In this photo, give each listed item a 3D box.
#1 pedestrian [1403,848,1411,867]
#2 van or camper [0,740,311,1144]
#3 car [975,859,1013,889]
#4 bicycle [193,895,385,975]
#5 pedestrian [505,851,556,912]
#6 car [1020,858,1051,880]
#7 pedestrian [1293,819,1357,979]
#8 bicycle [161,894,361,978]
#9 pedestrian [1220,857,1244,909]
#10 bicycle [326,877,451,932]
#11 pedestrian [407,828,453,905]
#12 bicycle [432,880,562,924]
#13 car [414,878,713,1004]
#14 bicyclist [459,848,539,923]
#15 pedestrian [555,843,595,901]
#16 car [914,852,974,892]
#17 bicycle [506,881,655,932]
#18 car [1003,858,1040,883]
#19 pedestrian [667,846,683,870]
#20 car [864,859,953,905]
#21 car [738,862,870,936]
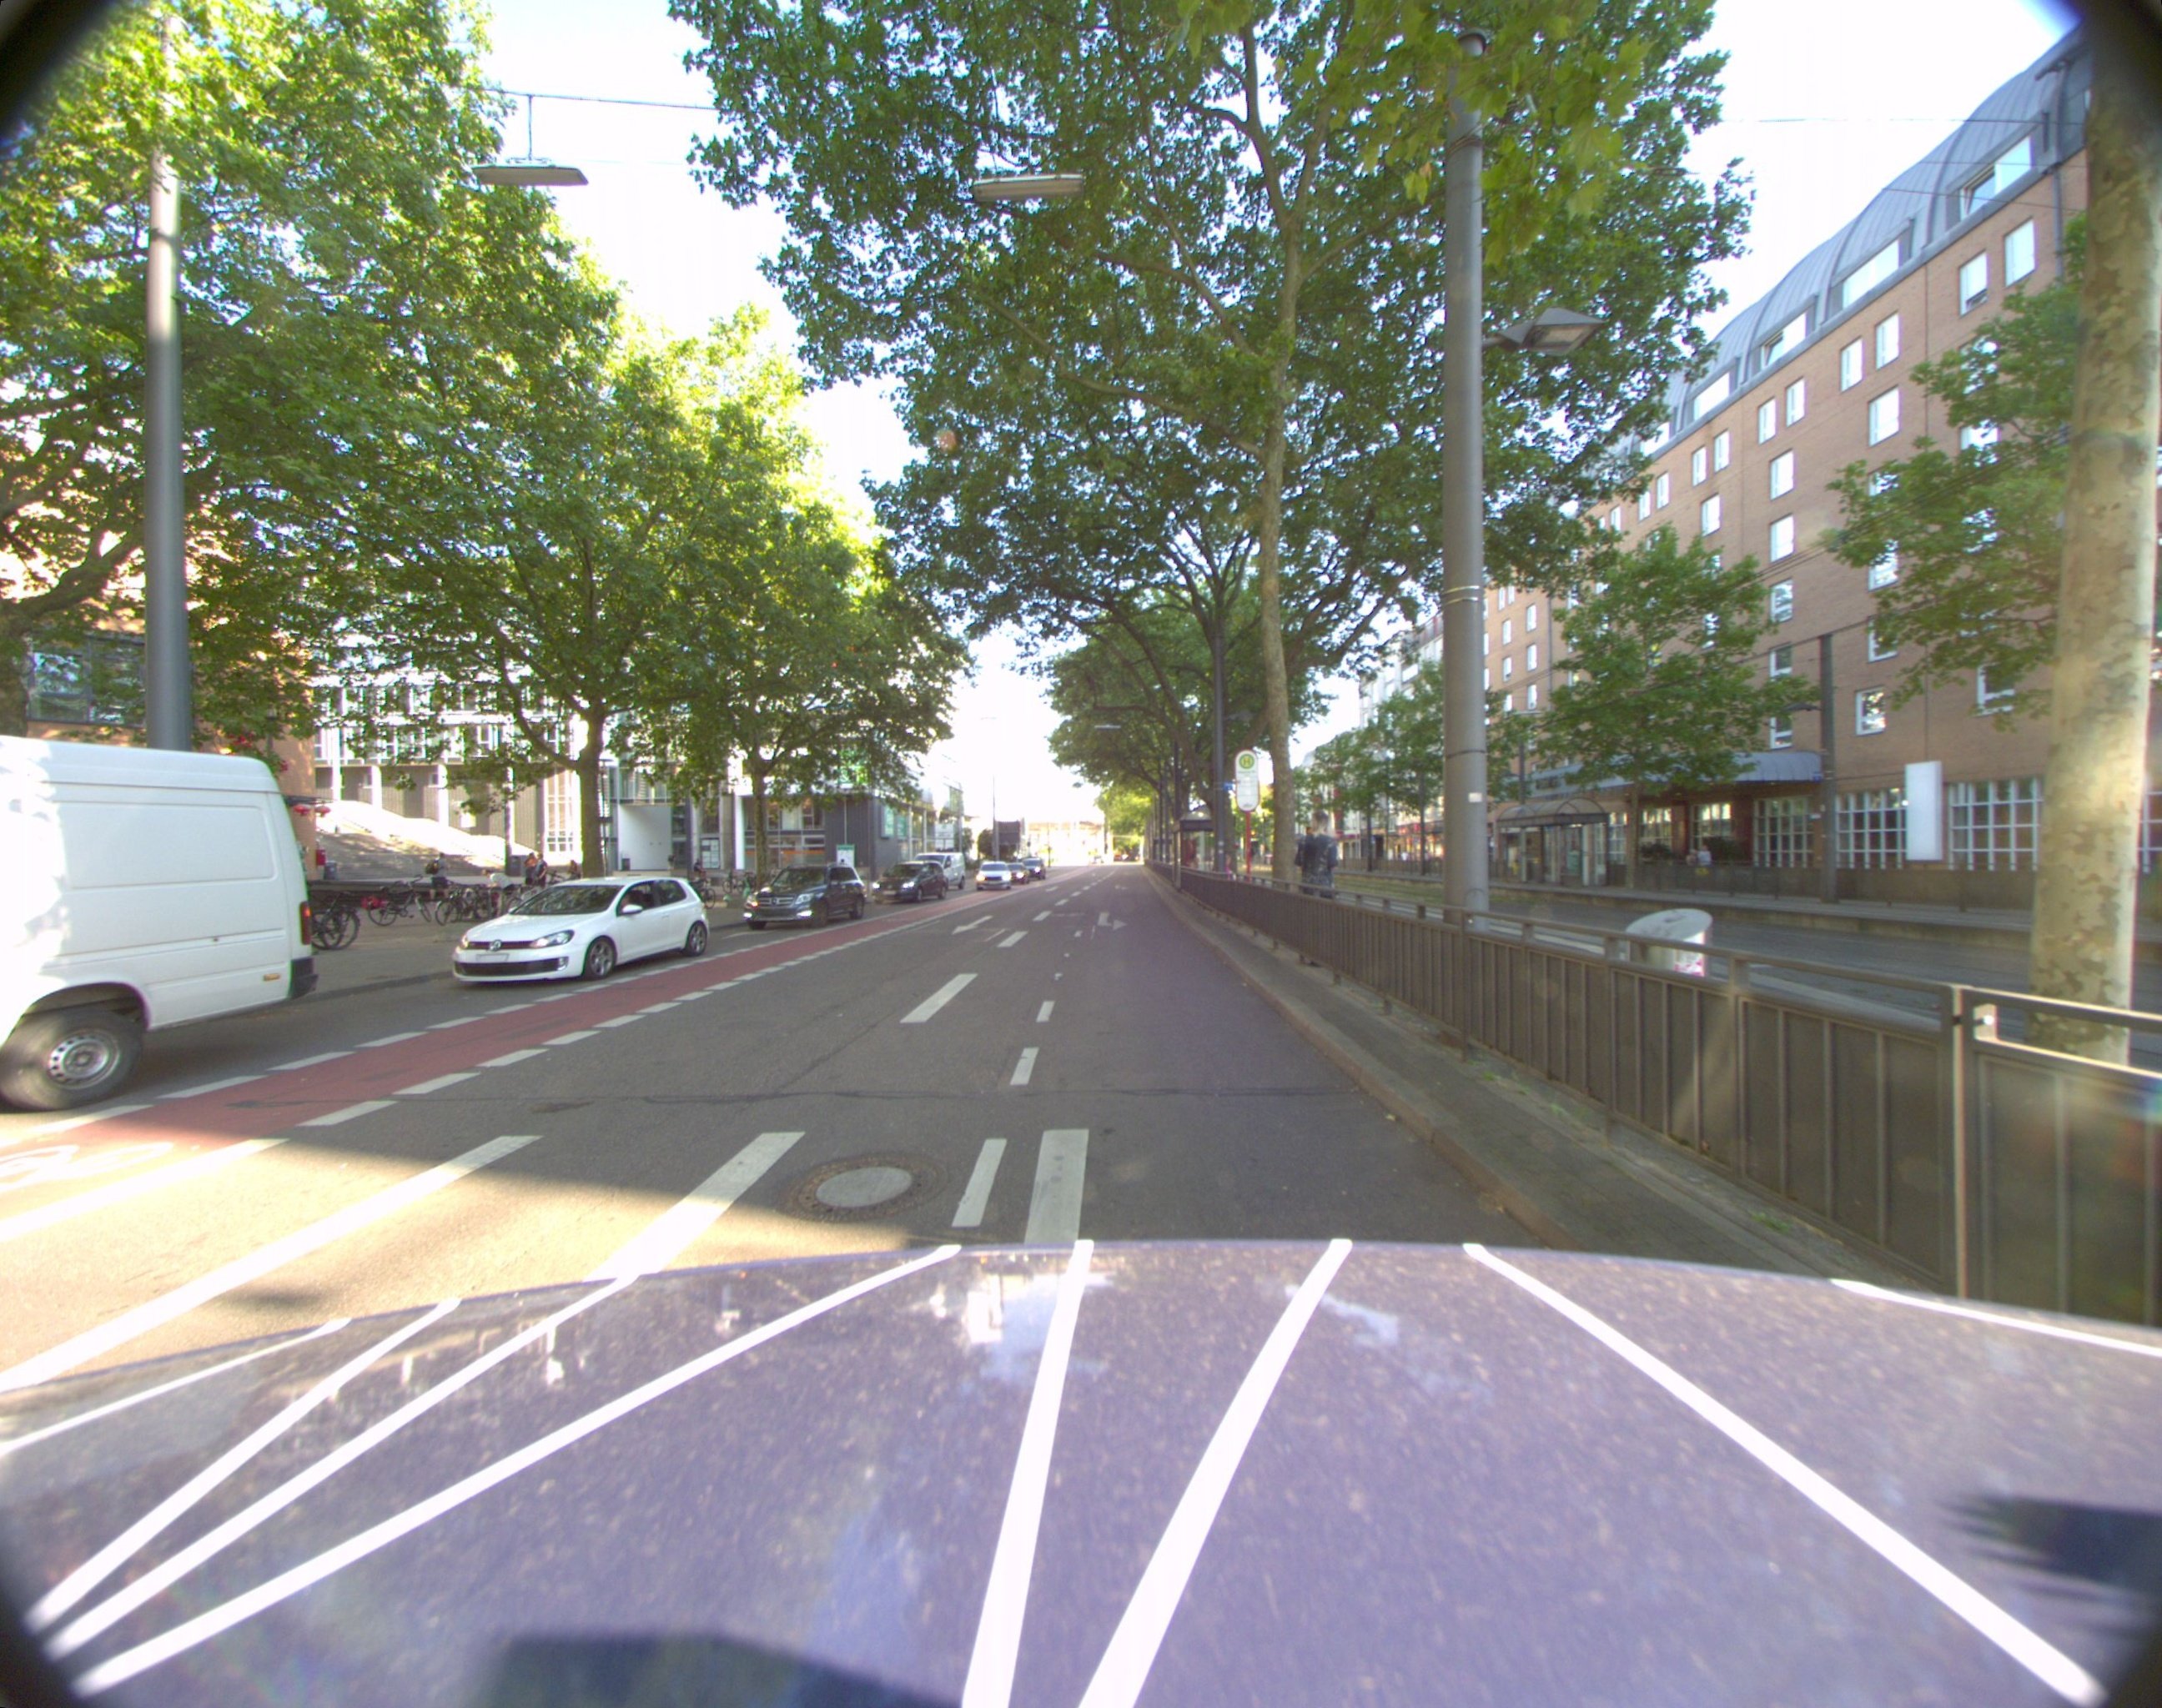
[{"bbox_3d":[30.581,0.313,71.268,0.504,1.725,0.574,-1,1,3],"label":"pedestrian"},{"bbox_3d":[-7.976,0.581,3.561,2.005,2.599,6.498,-1,0,1],"label":"van or camper"},{"bbox_3d":[-4.573,1.020,40.411,1.836,1.481,4.193,-2,0,-5],"label":"car"},{"bbox_3d":[-13.147,1.306,12.749,0.682,1.054,2.337,-1,1,2],"label":"bicycle"},{"bbox_3d":[-21.004,1.038,28.999,1.048,2.235,1.221,-1,1,38],"label":"pedestrian"},{"bbox_3d":[-3.504,1.118,58.699,1.784,1.481,4.196,-3,0,4],"label":"car"},{"bbox_3d":[2.887,0.523,9.016,0.543,1.823,0.524,-2,1,2],"label":"pedestrian"},{"bbox_3d":[-14.040,1.353,13.161,0.751,1.155,2.398,-2,1,2],"label":"bicycle"},{"bbox_3d":[3.904,0.749,19.652,0.542,1.310,0.524,-2,1,12],"label":"pedestrian"},{"bbox_3d":[-17.847,1.255,19.710,0.699,1.193,2.700,-2,1,1],"label":"bicycle"},{"bbox_3d":[-22.926,0.413,26.796,0.981,2.633,0.900,-3,1,-31],"label":"pedestrian"},{"bbox_3d":[-16.212,1.296,21.090,3.328,1.077,1.150,0,1,18],"label":"bicycle"},{"bbox_3d":[-7.515,1.172,11.598,1.639,1.420,3.987,-2,0,3],"label":"car"},{"bbox_3d":[-16.080,0.843,21.031,1.296,2.002,1.158,-1,1,17],"label":"bicyclist"},{"bbox_3d":[-20.057,0.708,30.147,0.842,2.220,0.905,-2,1,22],"label":"pedestrian"},{"bbox_3d":[-7.301,0.885,41.197,1.933,1.953,5.919,-2,0,2],"label":"car"},{"bbox_3d":[-12.939,1.320,19.824,0.975,1.020,3.208,-2,1,23],"label":"bicycle"},{"bbox_3d":[-3.834,1.054,49.690,1.835,1.481,4.196,-3,0,2],"label":"car"},{"bbox_3d":[-34.006,0.336,63.681,0.797,2.002,0.875,-2,1,1],"label":"pedestrian"},{"bbox_3d":[-6.770,1.057,30.340,1.708,1.626,4.394,-2,0,12],"label":"car"},{"bbox_3d":[-7.148,1.090,20.099,1.769,1.626,4.250,-2,0,2],"label":"car"}]
